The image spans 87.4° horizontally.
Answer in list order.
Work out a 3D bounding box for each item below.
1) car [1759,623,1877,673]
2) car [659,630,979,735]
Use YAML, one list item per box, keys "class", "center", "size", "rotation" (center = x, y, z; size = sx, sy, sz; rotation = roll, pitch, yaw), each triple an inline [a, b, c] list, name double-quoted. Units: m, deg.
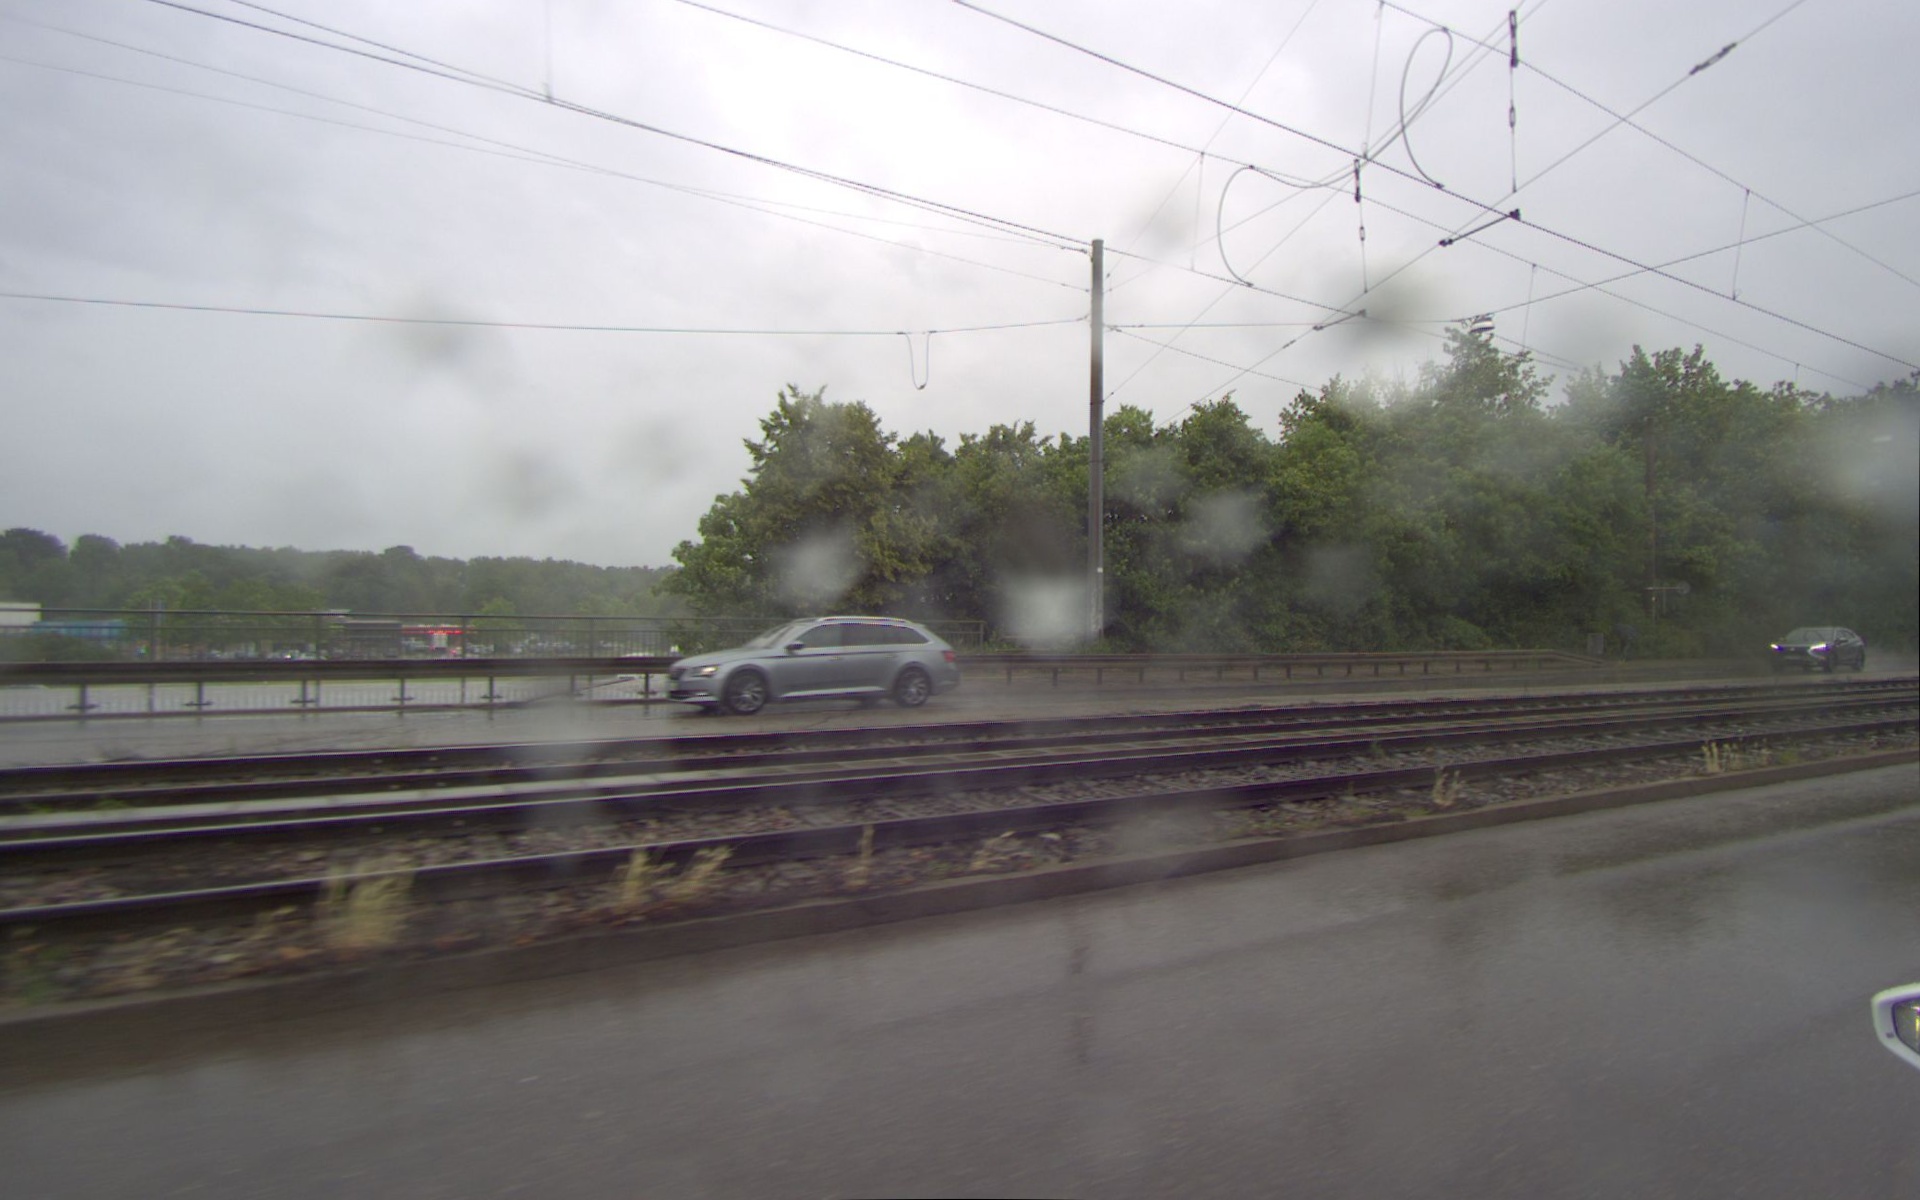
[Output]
- class: "car"
  center: [32.196, 1.756, 37.666]
  size: [4.817, 1.695, 1.983]
  rotation: [0, -1, -31]
- class: "car"
  center: [-2.237, 1.228, 16.336]
  size: [4.798, 1.407, 1.983]
  rotation: [0, -1, -31]
